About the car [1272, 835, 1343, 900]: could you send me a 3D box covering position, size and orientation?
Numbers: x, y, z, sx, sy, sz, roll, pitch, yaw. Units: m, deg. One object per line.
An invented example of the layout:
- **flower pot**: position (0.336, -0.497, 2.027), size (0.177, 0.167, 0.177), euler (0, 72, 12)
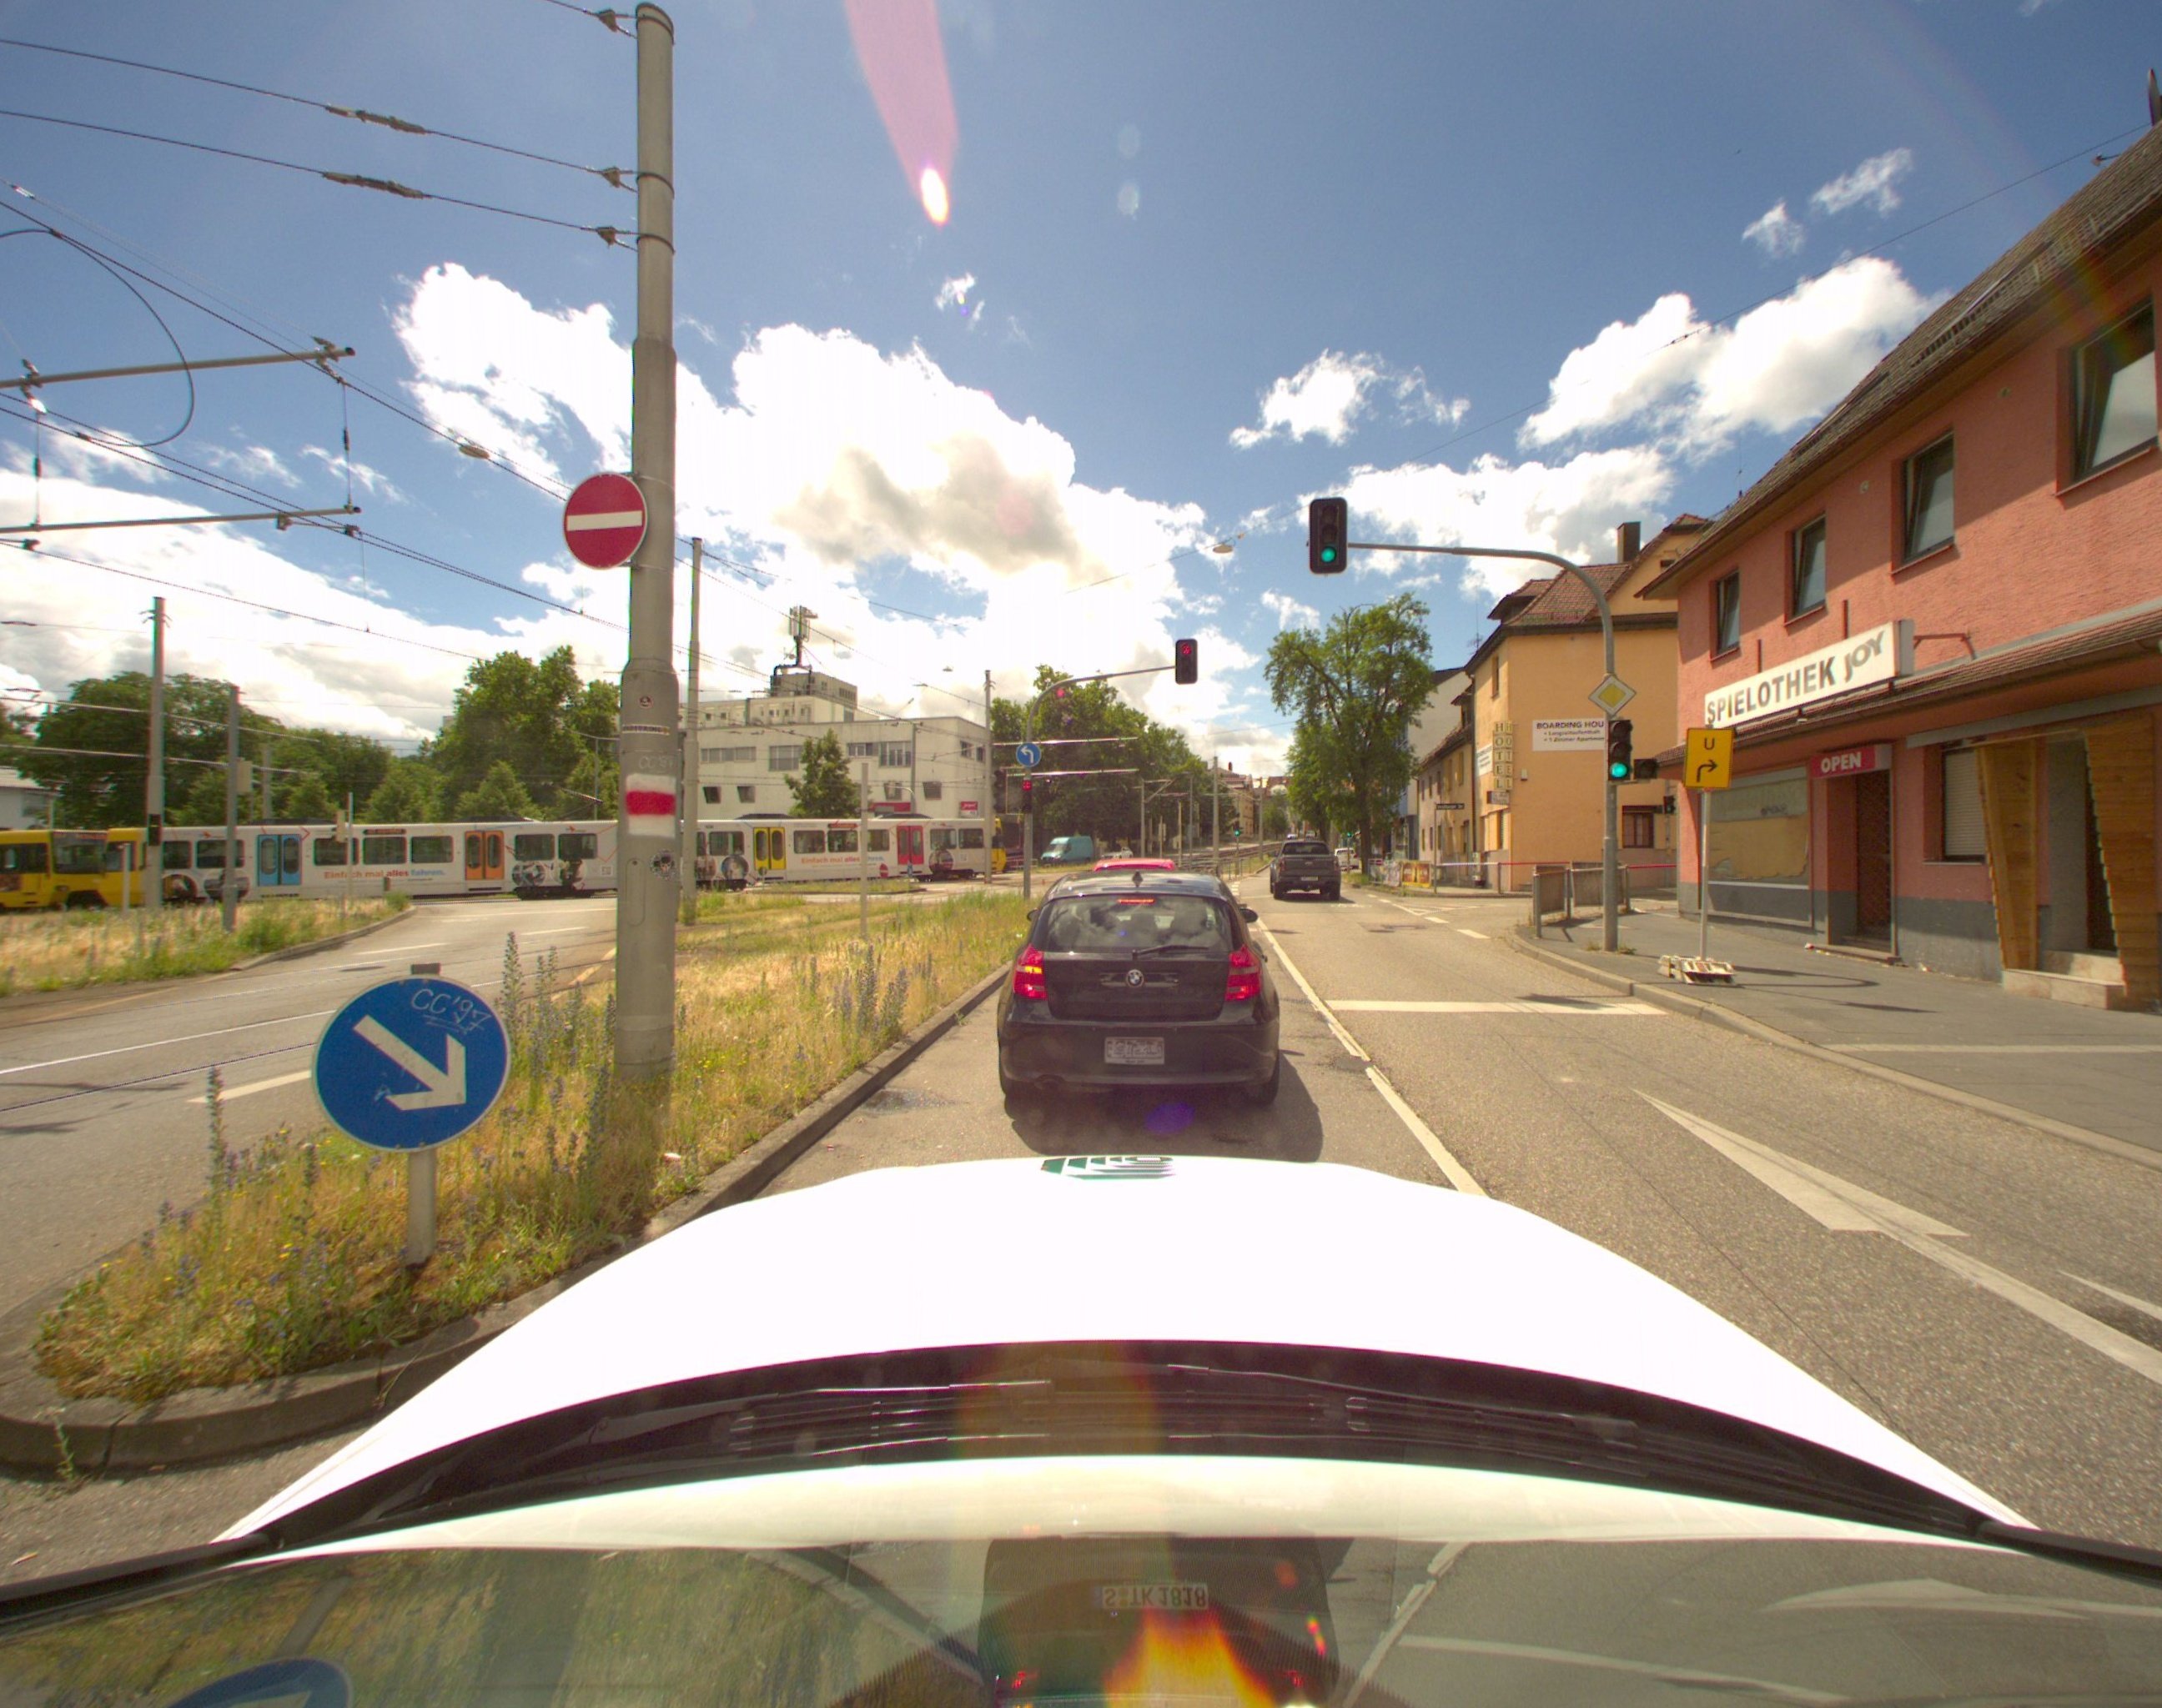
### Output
- **car**: position (7.354, 0.436, 26.634), size (1.984, 1.887, 5.170), euler (-2, -1, 15)

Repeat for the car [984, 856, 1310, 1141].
- **car**: position (0.342, 0.794, 6.320), size (1.696, 1.452, 3.999), euler (-2, -1, 0)

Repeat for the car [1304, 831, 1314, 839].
- **car**: position (57.701, -4.789, 206.020), size (1.976, 2.014, 4.022), euler (-2, -1, 23)

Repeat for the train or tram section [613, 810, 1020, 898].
- **train or tram section**: position (-12.874, -0.099, 42.797), size (20.132, 3.814, 3.721), euler (-1, -1, -34)

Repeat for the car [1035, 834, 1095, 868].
- **car**: position (-1.274, -0.243, 68.760), size (2.110, 2.654, 5.726), euler (-2, -1, 33)

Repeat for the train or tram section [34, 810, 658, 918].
- **train or tram section**: position (-30.171, 0.289, 35.274), size (20.597, 3.879, 3.743), euler (-1, -1, -14)

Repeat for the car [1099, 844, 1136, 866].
- **car**: position (3.482, 0.109, 77.682), size (1.836, 1.928, 4.824), euler (-2, -1, 24)

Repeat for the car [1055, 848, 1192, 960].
- **car**: position (0.832, 0.696, 12.914), size (1.615, 1.473, 4.011), euler (-2, -1, 10)

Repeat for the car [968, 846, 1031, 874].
- **car**: position (-6.137, 0.402, 61.791), size (1.835, 2.009, 4.828), euler (-3, -1, 40)

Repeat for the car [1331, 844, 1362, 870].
- **car**: position (18.077, 0.216, 55.644), size (1.774, 1.596, 4.016), euler (-2, -1, 15)

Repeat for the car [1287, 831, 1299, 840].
- **car**: position (48.663, -4.249, 186.916), size (1.976, 2.014, 4.022), euler (-2, -1, 23)

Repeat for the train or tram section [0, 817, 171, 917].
- **train or tram section**: position (-49.523, 0.801, 34.442), size (19.977, 3.829, 3.768), euler (-2, -1, 6)
